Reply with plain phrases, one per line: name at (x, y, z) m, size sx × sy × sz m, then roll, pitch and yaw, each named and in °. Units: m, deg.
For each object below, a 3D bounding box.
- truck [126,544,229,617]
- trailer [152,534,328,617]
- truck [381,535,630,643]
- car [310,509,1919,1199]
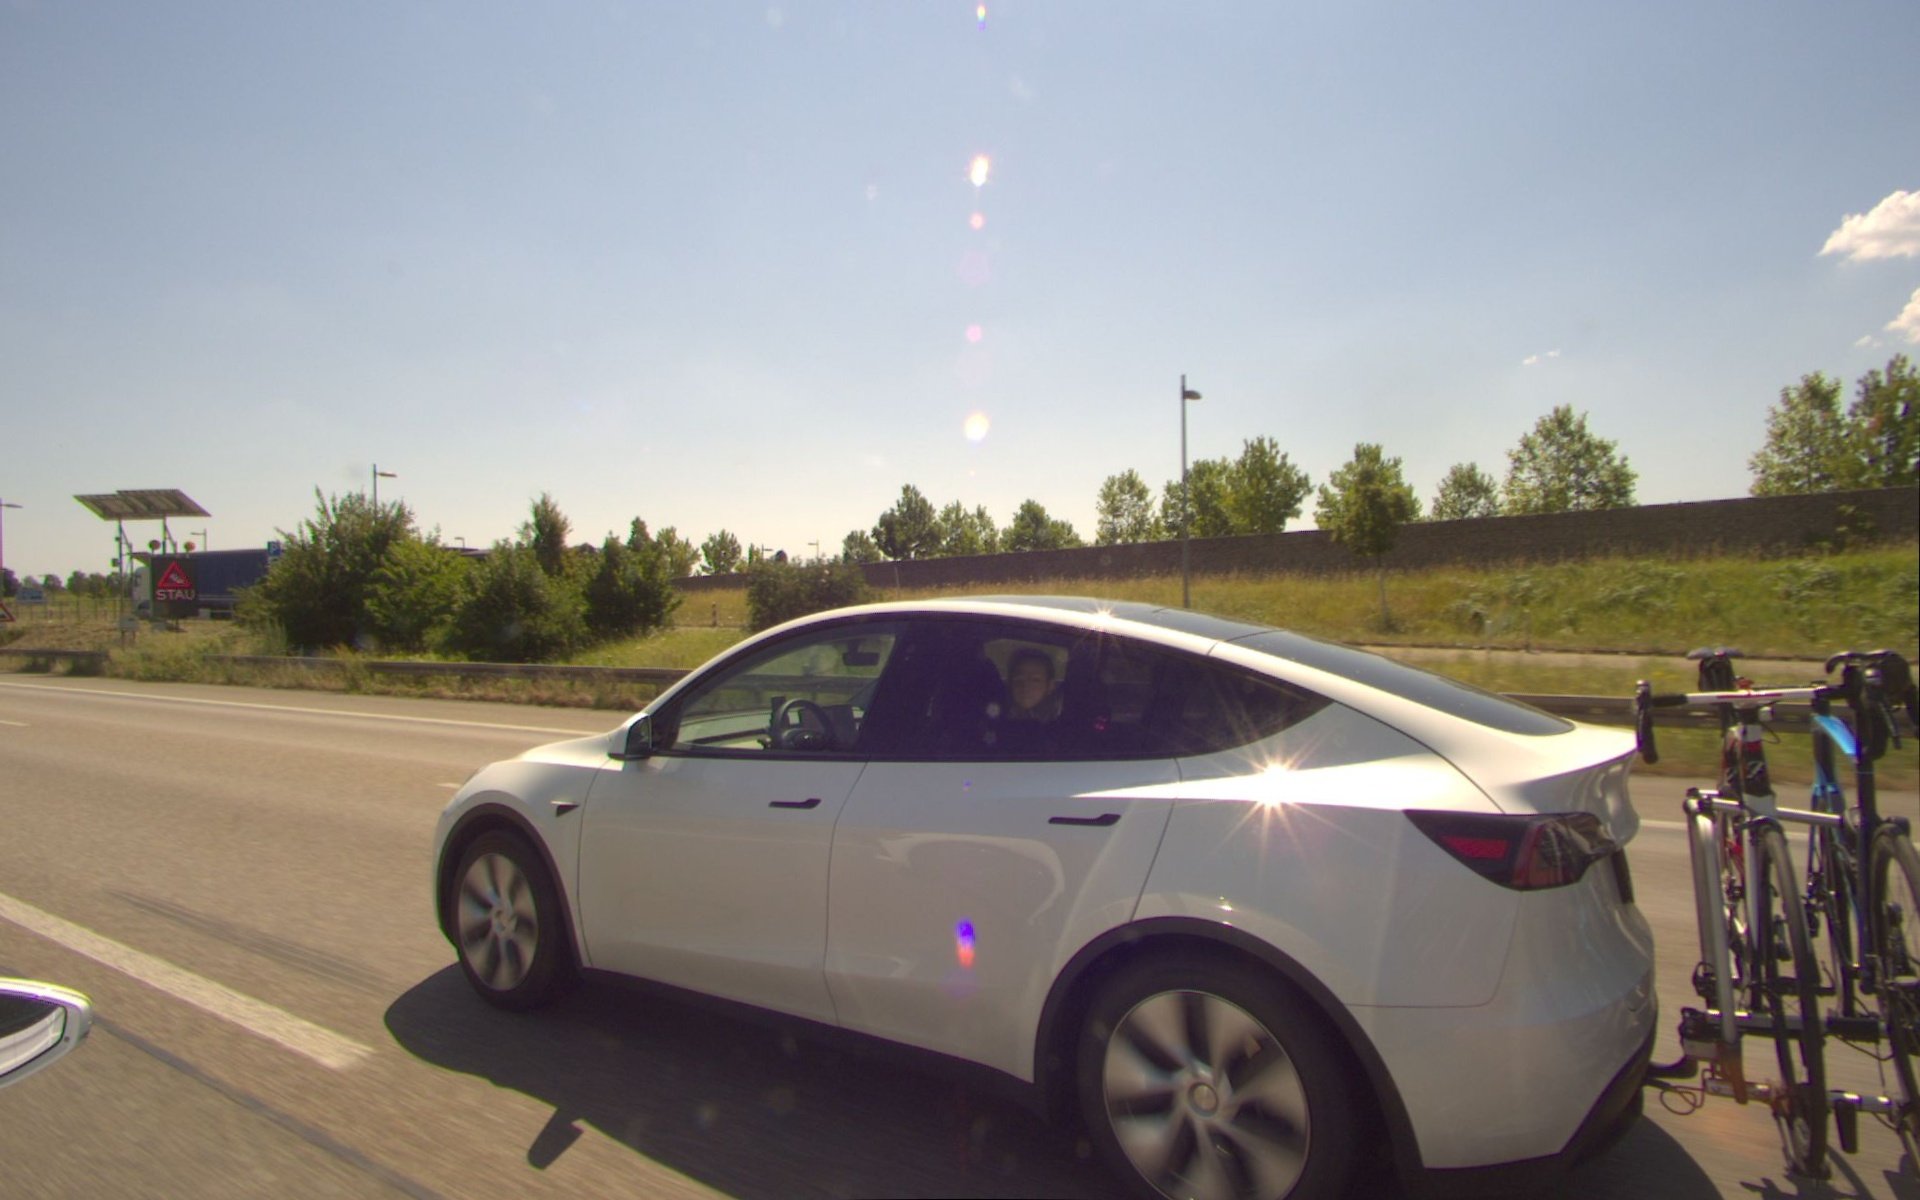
truck at (-47.961, -1.071, 61.323) m, size 6.308 × 4.135 × 3.047 m, roll -1°, pitch -2°, yaw 33°
trailer at (-41.328, -1.213, 57.188) m, size 14.053 × 4.135 × 3.048 m, roll -1°, pitch -2°, yaw 32°
truck at (-19.778, -0.239, 43.107) m, size 12.343 × 4.135 × 3.781 m, roll -1°, pitch -2°, yaw 33°
car at (-0.146, 0.755, 3.955) m, size 5.521 × 1.657 × 1.947 m, roll -1°, pitch -2°, yaw 32°
